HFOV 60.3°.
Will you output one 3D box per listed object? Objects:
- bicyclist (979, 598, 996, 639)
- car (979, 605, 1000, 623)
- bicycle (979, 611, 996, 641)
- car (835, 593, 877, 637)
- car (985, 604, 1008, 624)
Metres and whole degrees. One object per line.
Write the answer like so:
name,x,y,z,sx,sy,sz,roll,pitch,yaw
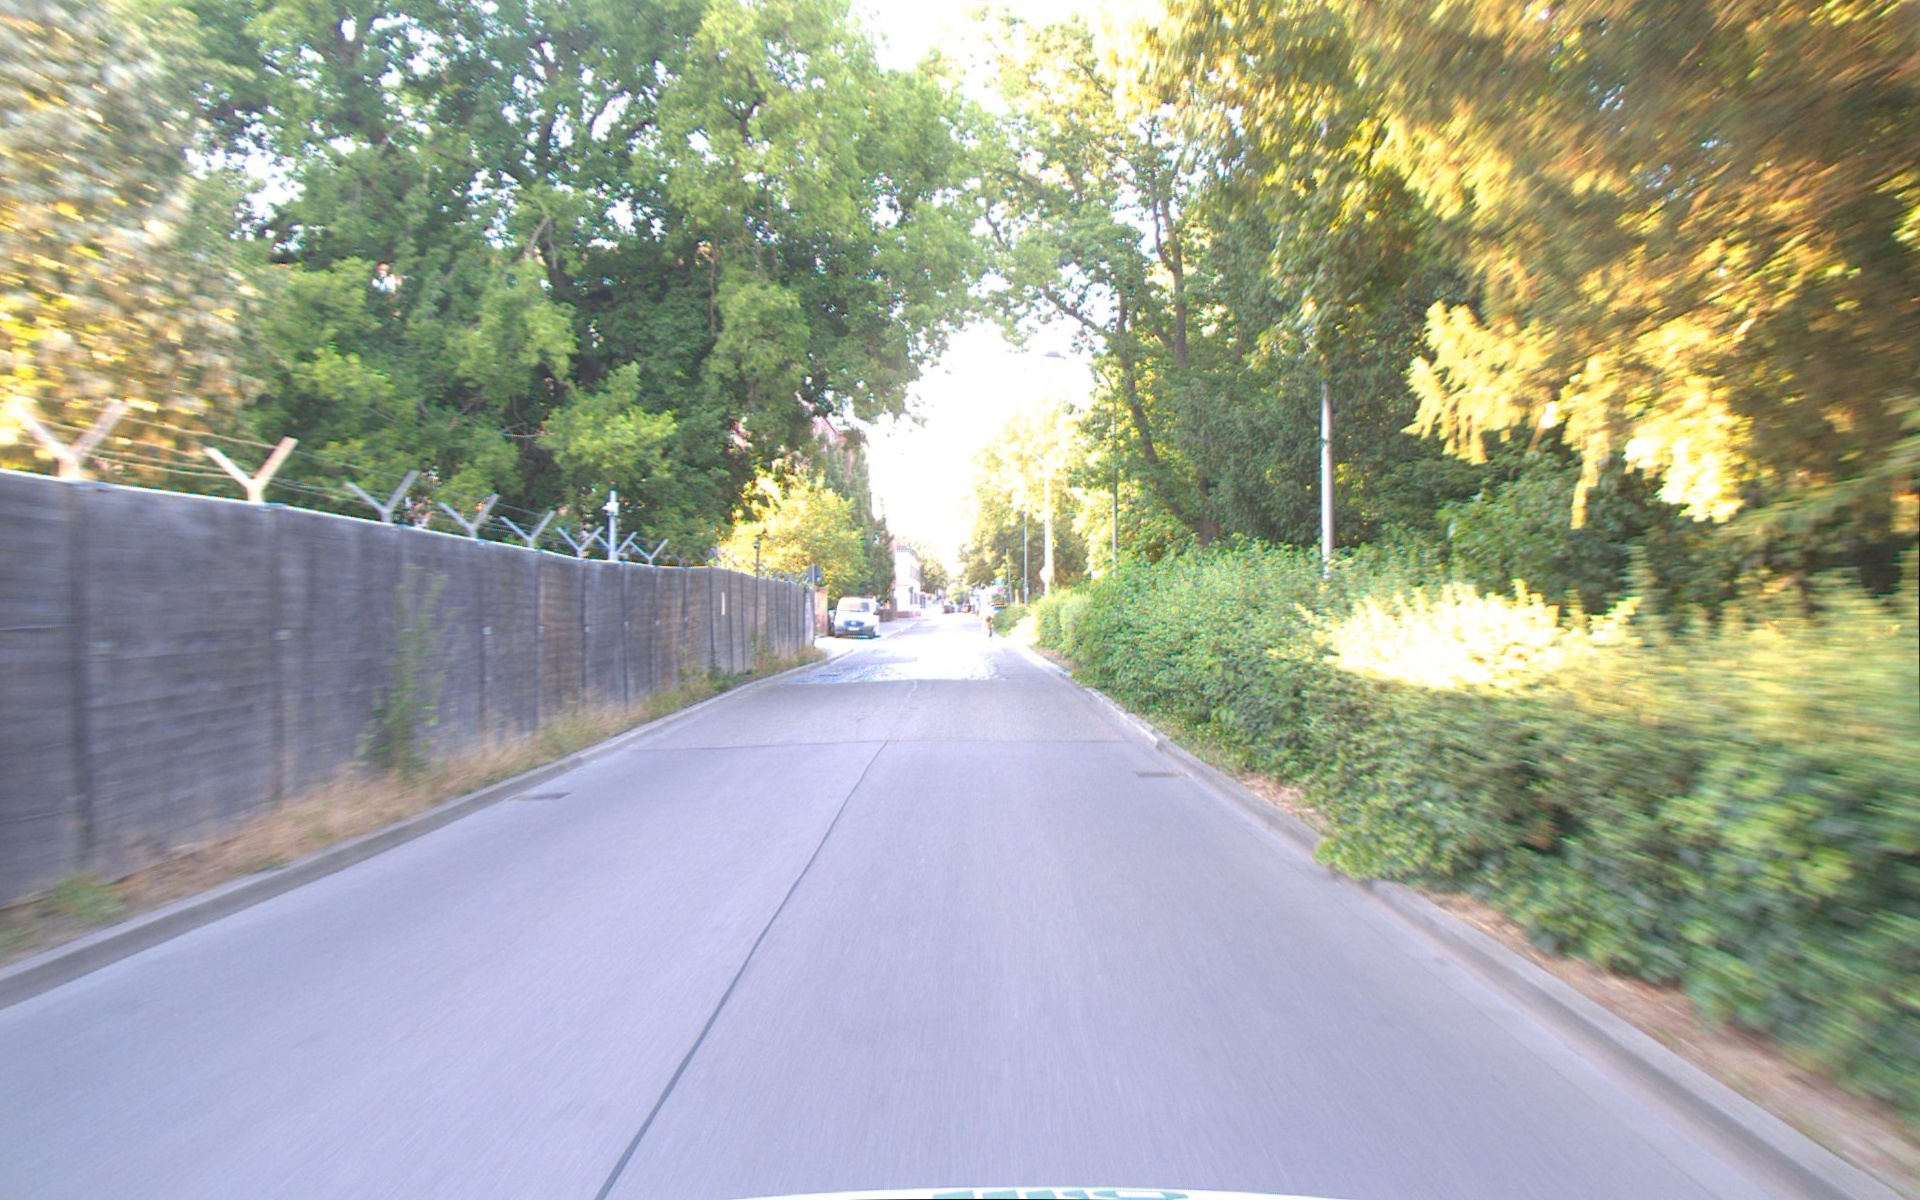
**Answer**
bicyclist,1.145,0.779,69.063,0.626,1.696,0.842,1,-1,-2
car,2.693,1.276,152.713,1.681,1.564,4.047,-1,0,-2
bicycle,1.142,1.081,69.007,0.625,1.214,1.875,1,0,-2
car,-4.971,0.761,79.619,1.844,2.049,5.223,1,-1,-2
car,3.021,1.173,139.116,1.651,1.472,3.670,-4,-1,-2
